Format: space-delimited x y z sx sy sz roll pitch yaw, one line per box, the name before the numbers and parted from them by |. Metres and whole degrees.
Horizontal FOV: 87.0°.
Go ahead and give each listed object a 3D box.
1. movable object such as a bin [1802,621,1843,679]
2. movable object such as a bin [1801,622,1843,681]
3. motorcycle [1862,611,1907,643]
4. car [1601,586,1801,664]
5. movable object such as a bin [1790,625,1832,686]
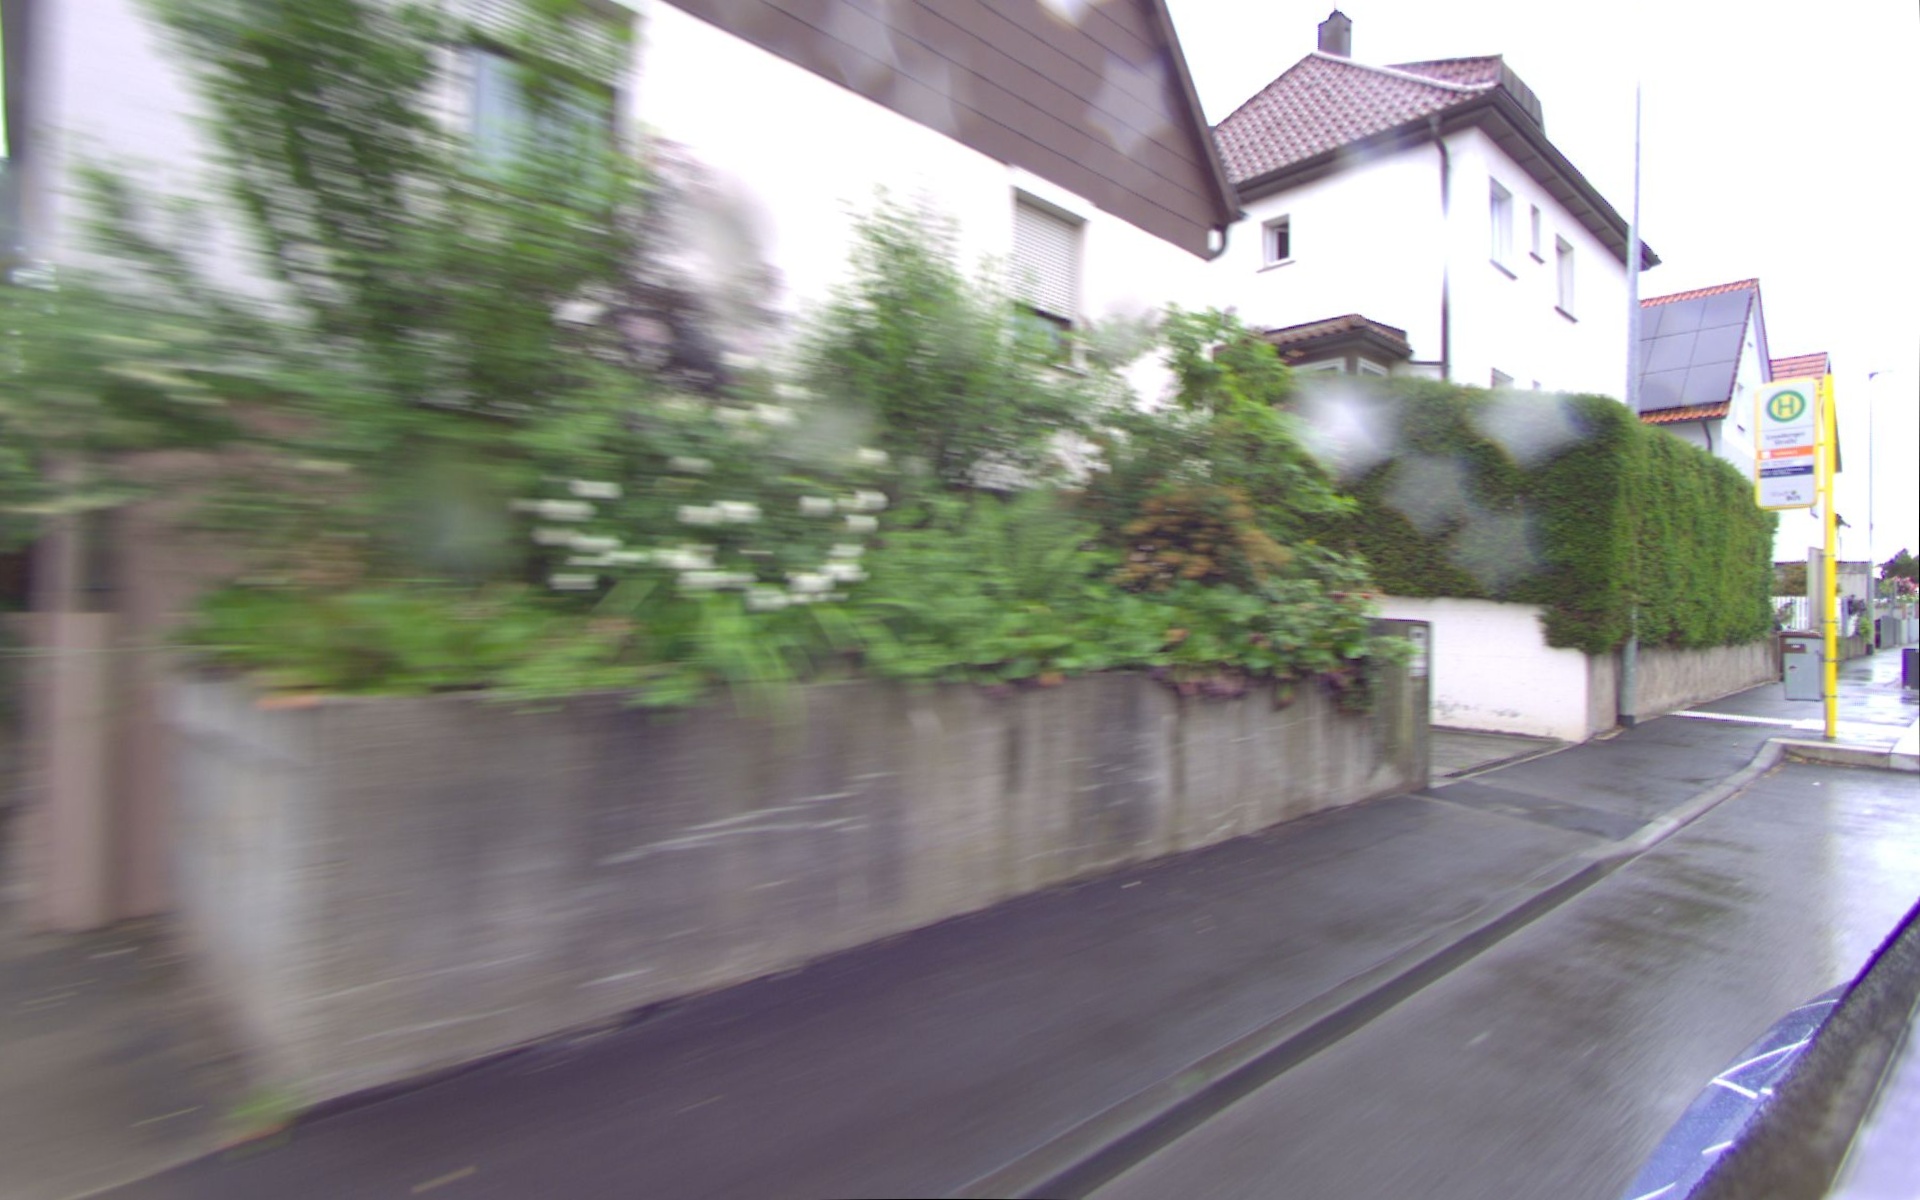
movable object such as a bin | 16.881 0.966 19.810 0.529 1.090 0.568 1 -1 -45
movable object such as a bin | 16.485 0.973 19.359 0.529 1.090 0.568 1 -1 -45
motorcycle | 31.674 0.903 34.676 0.547 1.025 1.148 1 1 8
car | 17.302 0.619 23.733 1.554 1.501 3.446 0 -6 -43
movable object such as a bin | 15.853 1.025 18.851 0.515 1.090 0.568 1 -1 -45
